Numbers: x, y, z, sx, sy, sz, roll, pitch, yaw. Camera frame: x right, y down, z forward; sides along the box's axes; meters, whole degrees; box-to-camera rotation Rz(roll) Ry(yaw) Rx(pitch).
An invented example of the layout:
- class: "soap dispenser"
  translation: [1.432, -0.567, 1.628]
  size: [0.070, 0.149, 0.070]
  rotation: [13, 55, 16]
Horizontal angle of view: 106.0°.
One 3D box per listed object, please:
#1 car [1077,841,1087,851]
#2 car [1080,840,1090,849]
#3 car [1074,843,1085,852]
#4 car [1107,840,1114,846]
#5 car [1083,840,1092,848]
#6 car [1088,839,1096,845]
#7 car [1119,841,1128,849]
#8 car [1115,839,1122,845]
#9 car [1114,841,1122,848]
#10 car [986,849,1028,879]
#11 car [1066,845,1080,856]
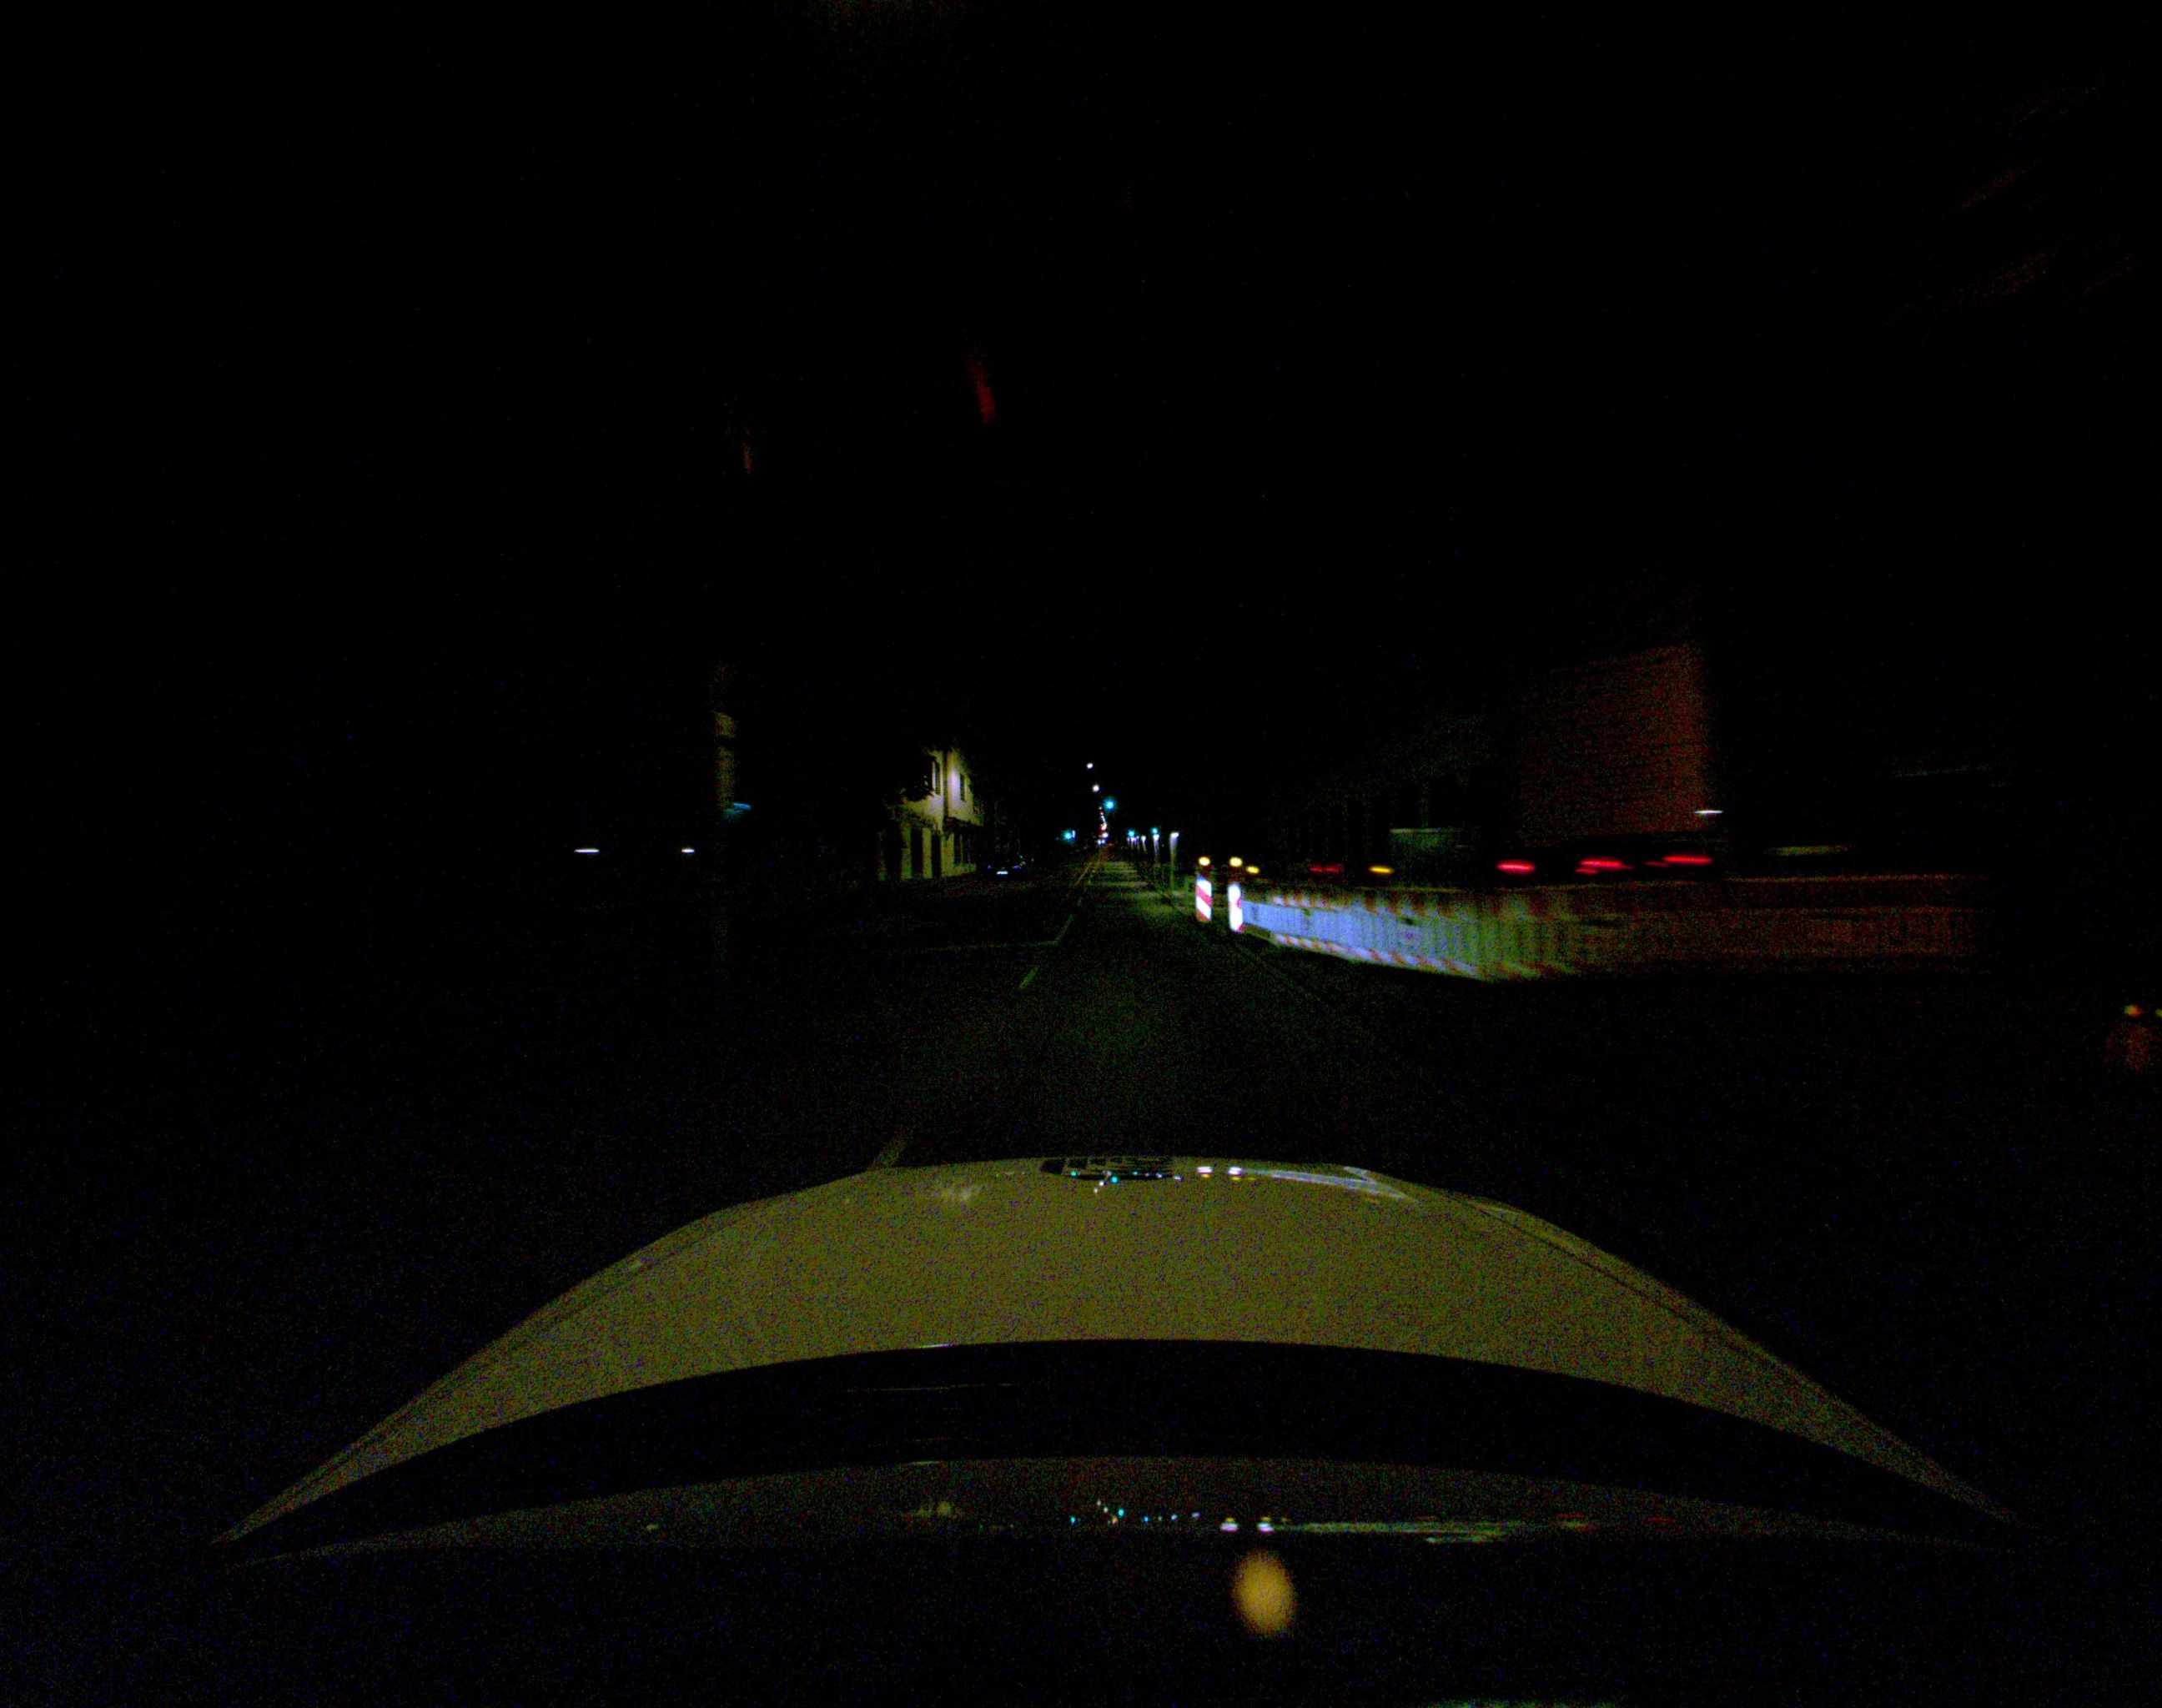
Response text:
- class: "car"
  translation: [0.187, -1.561, 158.557]
  size: [1.866, 1.814, 4.207]
  rotation: [-1, 1, 2]
- class: "car"
  translation: [0.896, -2.017, 176.851]
  size: [1.866, 1.814, 4.207]
  rotation: [-2, 1, 2]
- class: "car"
  translation: [-0.267, -1.268, 152.375]
  size: [1.866, 1.544, 4.207]
  rotation: [-1, 1, 2]
- class: "car"
  translation: [8.372, -3.208, 233.425]
  size: [1.866, 1.814, 4.208]
  rotation: [-1, 1, 3]
- class: "car"
  translation: [1.558, -2.320, 194.803]
  size: [1.866, 1.814, 4.208]
  rotation: [-1, 1, 3]
- class: "car"
  translation: [3.247, -3.611, 243.019]
  size: [2.069, 1.814, 4.208]
  rotation: [-1, 1, 3]
- class: "car"
  translation: [8.638, -1.739, 165.393]
  size: [1.866, 1.544, 4.207]
  rotation: [-1, 1, 2]
- class: "car"
  translation: [11.597, -3.677, 252.891]
  size: [1.866, 1.907, 4.207]
  rotation: [-1, 1, 2]
- class: "car"
  translation: [9.350, -2.429, 204.352]
  size: [1.866, 1.544, 4.207]
  rotation: [-1, 1, 2]
- class: "car"
  translation: [-3.861, 0.493, 43.111]
  size: [1.664, 1.443, 4.207]
  rotation: [-1, 1, 2]
- class: "car"
  translation: [-1.095, -0.535, 115.135]
  size: [1.866, 1.544, 4.207]
  rotation: [-1, 1, 2]
